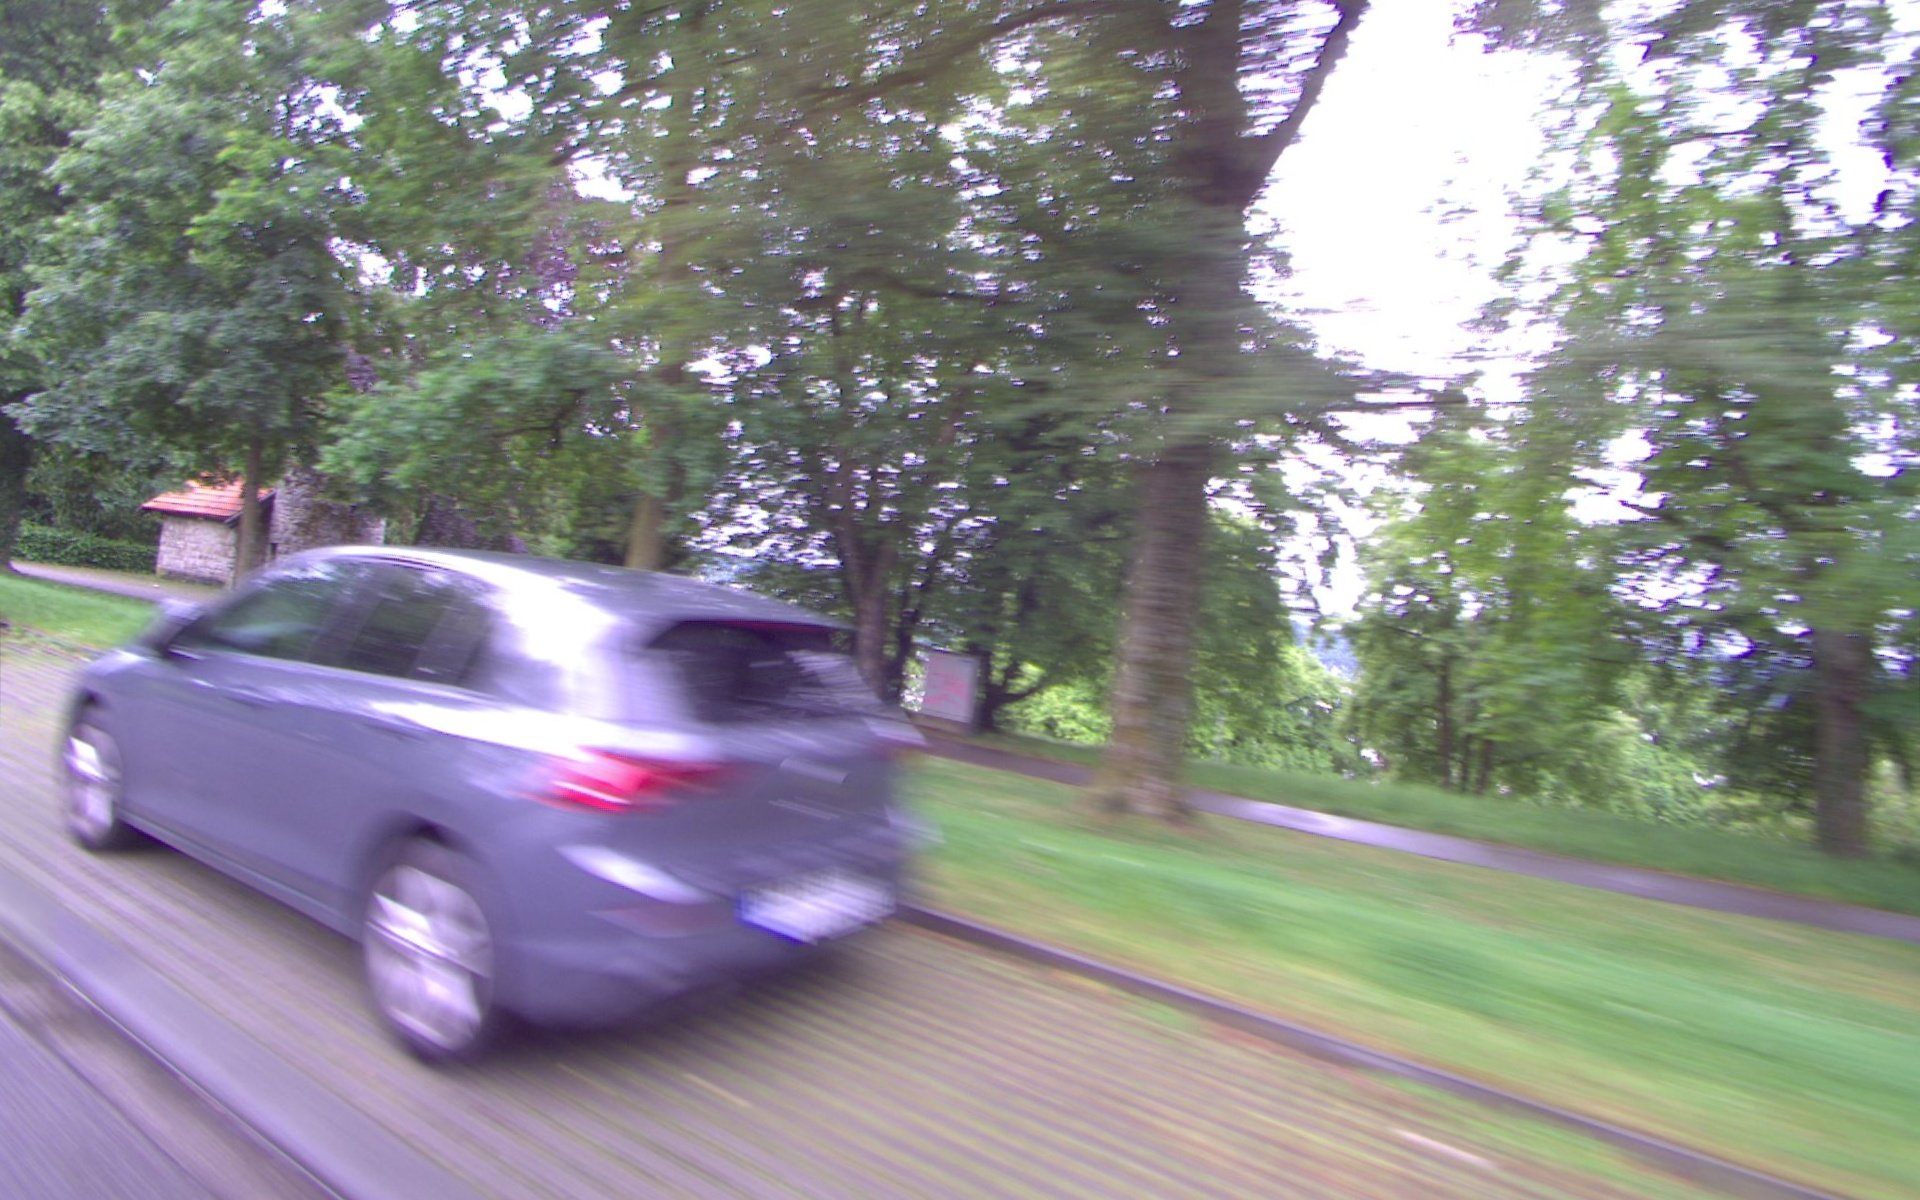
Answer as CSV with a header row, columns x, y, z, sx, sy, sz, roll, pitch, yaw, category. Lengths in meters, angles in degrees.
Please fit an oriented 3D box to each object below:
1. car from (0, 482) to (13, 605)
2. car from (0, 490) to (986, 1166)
x,y,z,sx,sy,sz,roll,pitch,yaw,category
-11.649,-0.694,10.383,3.934,1.470,1.745,7,0,33,car
-2.164,0.481,4.234,4.147,1.480,1.702,6,1,32,car
